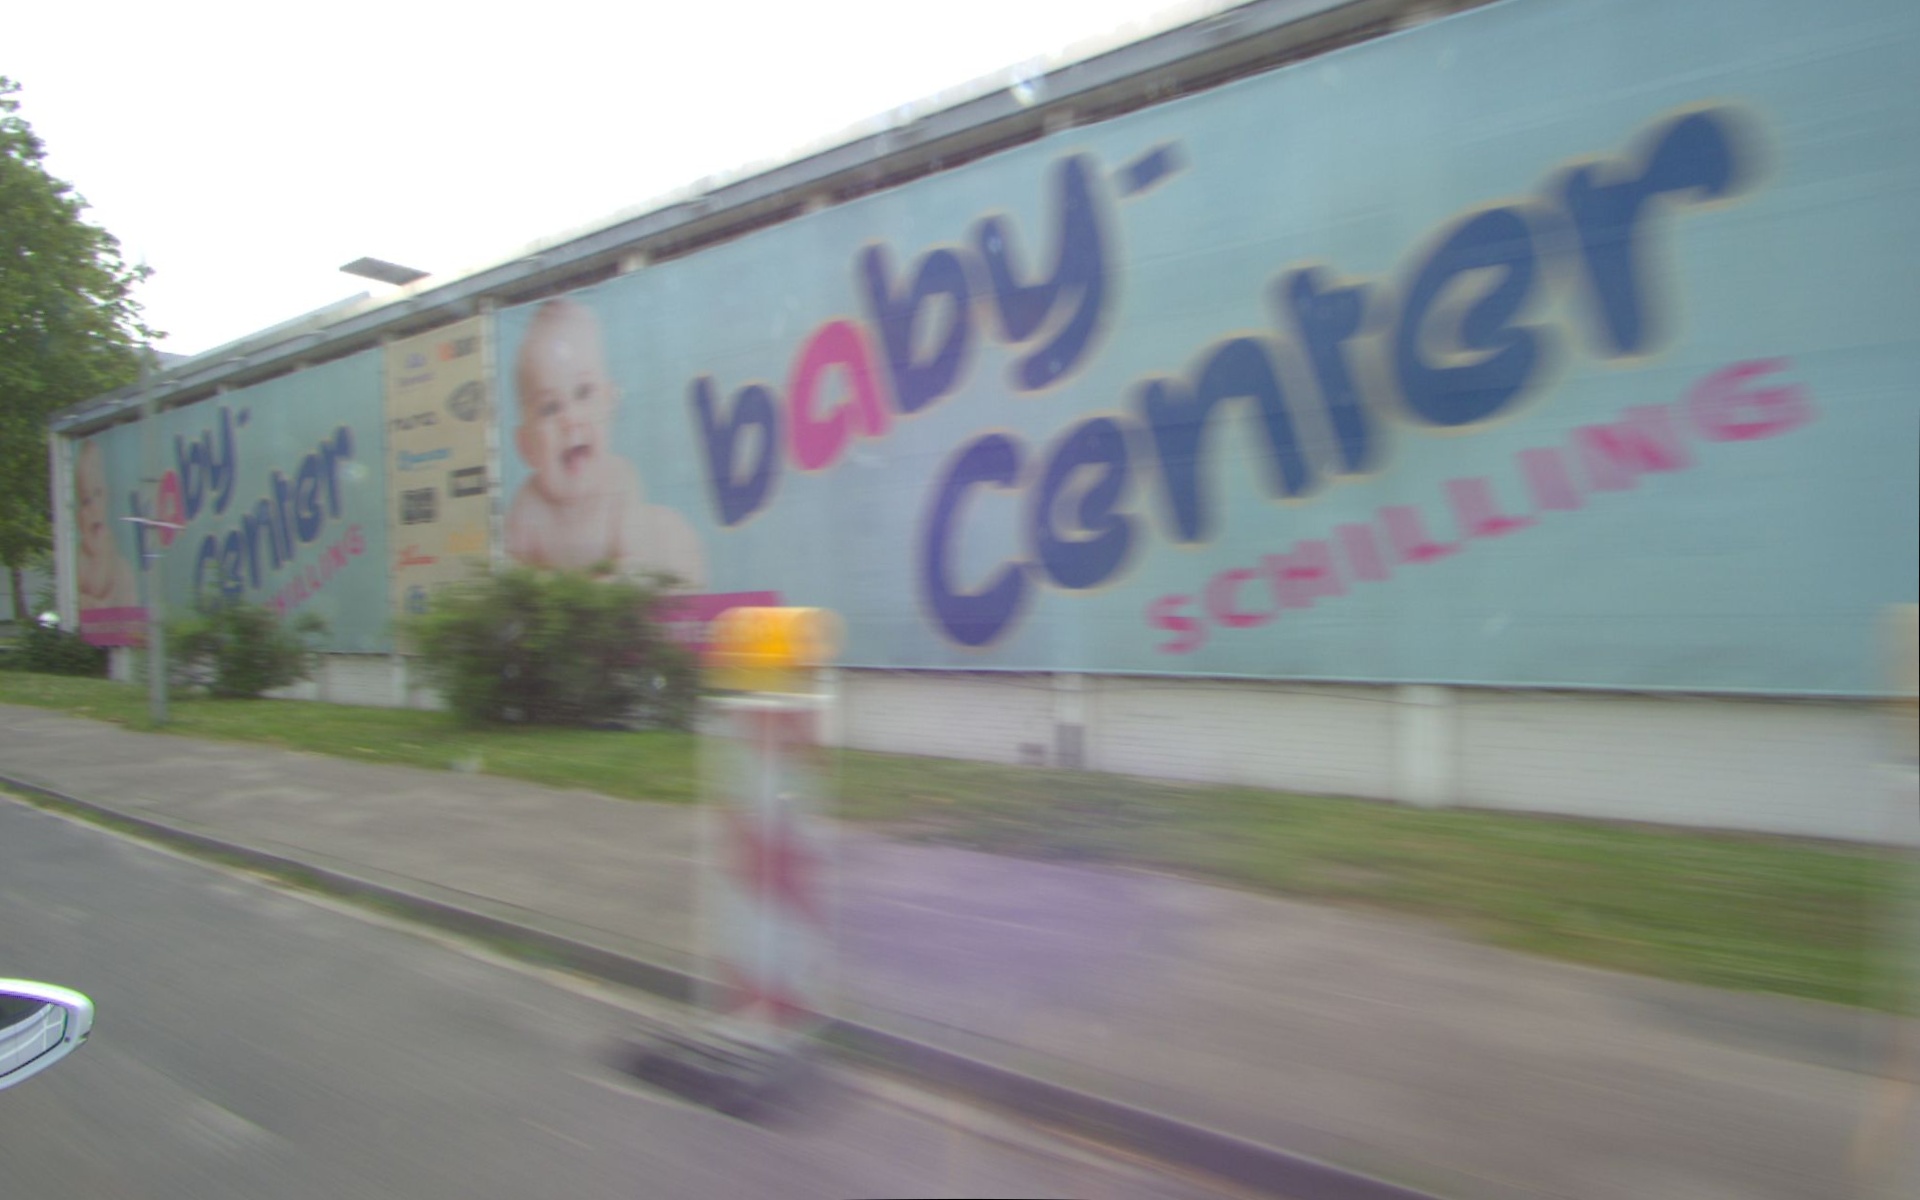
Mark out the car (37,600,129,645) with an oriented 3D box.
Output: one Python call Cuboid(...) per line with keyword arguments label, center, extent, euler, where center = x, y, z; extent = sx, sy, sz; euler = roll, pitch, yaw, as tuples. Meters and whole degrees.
Cuboid(label="car", center=(-31.446, 0.781, 35.874), extent=(3.949, 1.532, 1.733), euler=(0, 1, 38))
